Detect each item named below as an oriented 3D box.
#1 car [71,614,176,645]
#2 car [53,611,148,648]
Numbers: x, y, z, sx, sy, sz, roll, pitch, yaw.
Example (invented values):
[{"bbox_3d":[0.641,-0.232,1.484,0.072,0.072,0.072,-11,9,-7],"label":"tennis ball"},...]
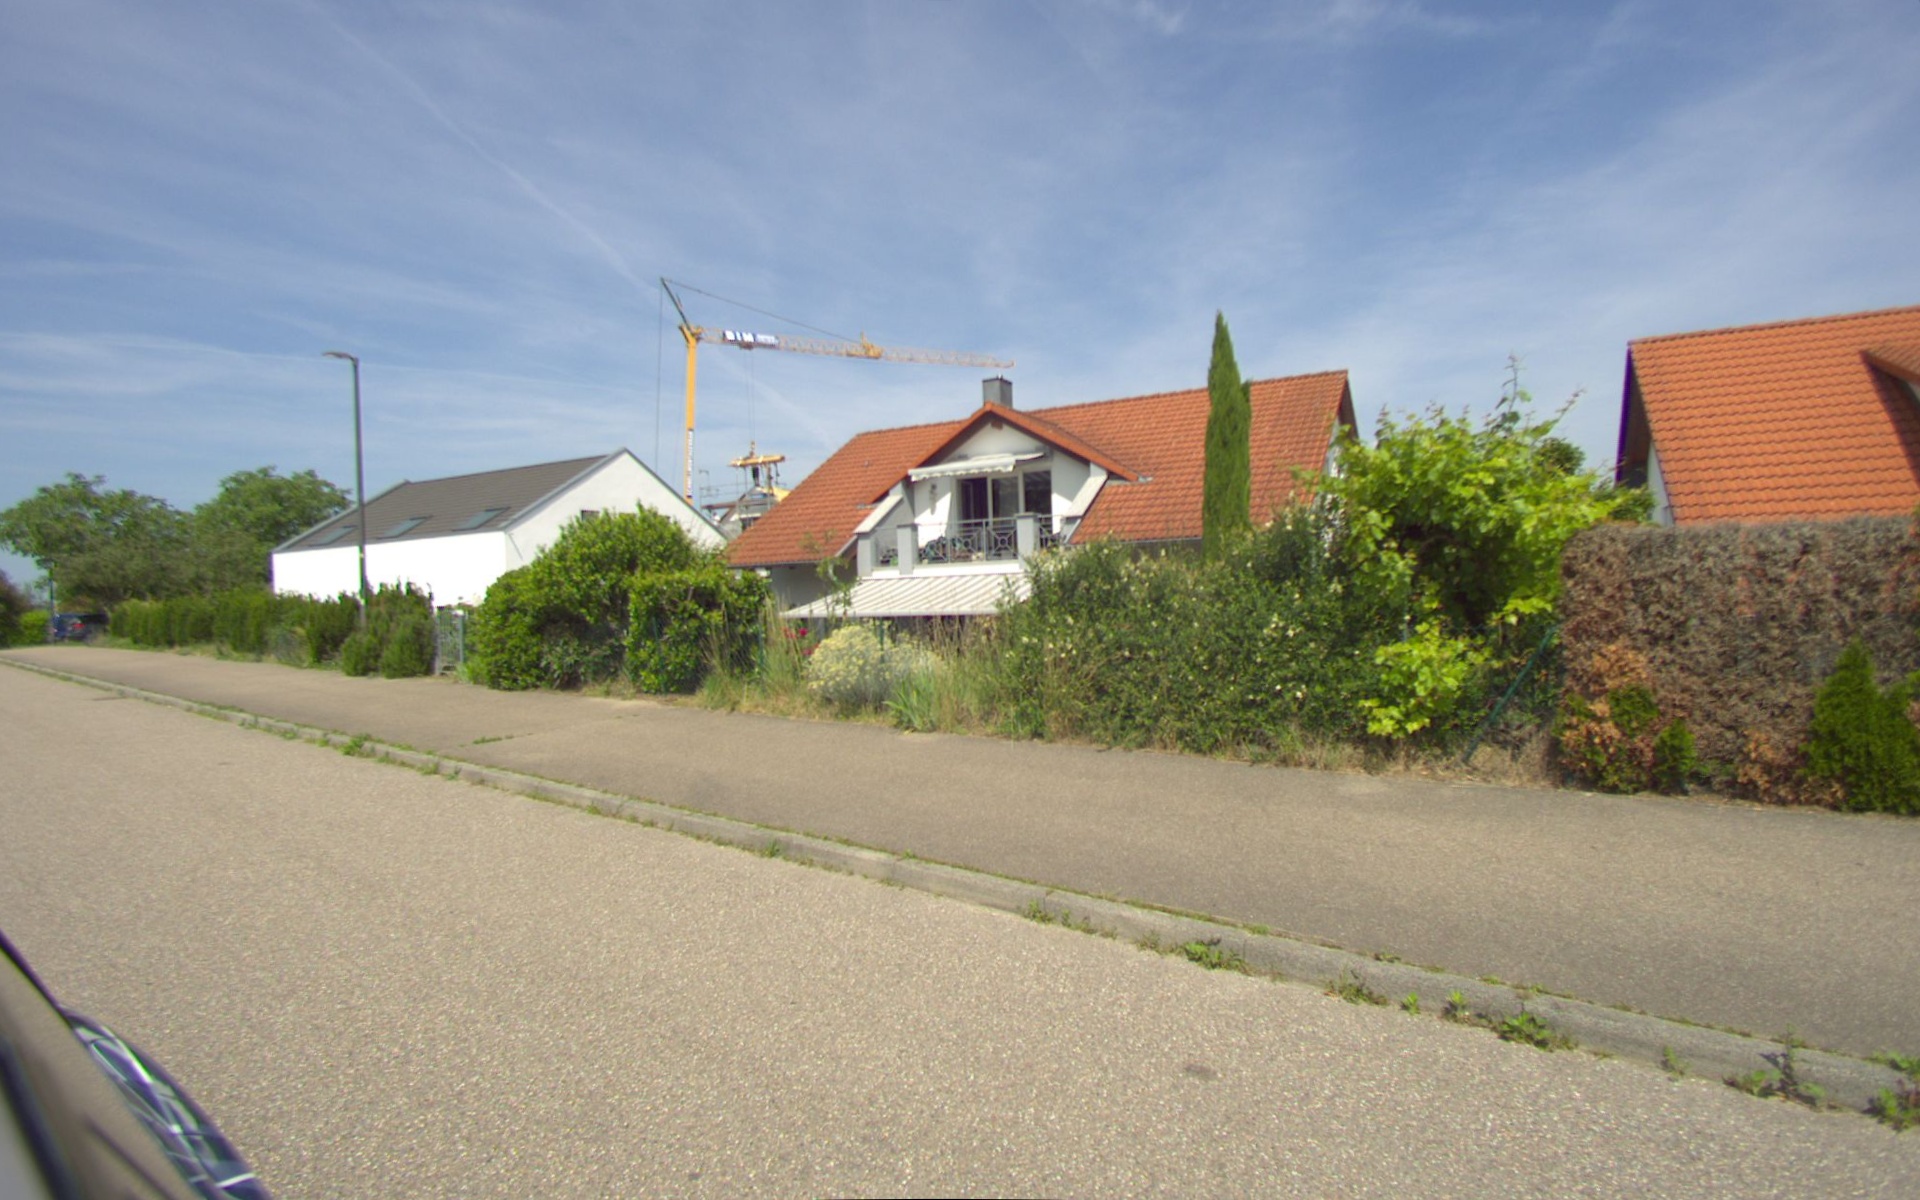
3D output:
[{"bbox_3d":[-41.164,1.449,49.843,3.832,1.331,1.802,-2,0,-45],"label":"car"},{"bbox_3d":[-47.119,1.597,55.503,3.832,1.826,1.802,-2,1,-45],"label":"car"}]
